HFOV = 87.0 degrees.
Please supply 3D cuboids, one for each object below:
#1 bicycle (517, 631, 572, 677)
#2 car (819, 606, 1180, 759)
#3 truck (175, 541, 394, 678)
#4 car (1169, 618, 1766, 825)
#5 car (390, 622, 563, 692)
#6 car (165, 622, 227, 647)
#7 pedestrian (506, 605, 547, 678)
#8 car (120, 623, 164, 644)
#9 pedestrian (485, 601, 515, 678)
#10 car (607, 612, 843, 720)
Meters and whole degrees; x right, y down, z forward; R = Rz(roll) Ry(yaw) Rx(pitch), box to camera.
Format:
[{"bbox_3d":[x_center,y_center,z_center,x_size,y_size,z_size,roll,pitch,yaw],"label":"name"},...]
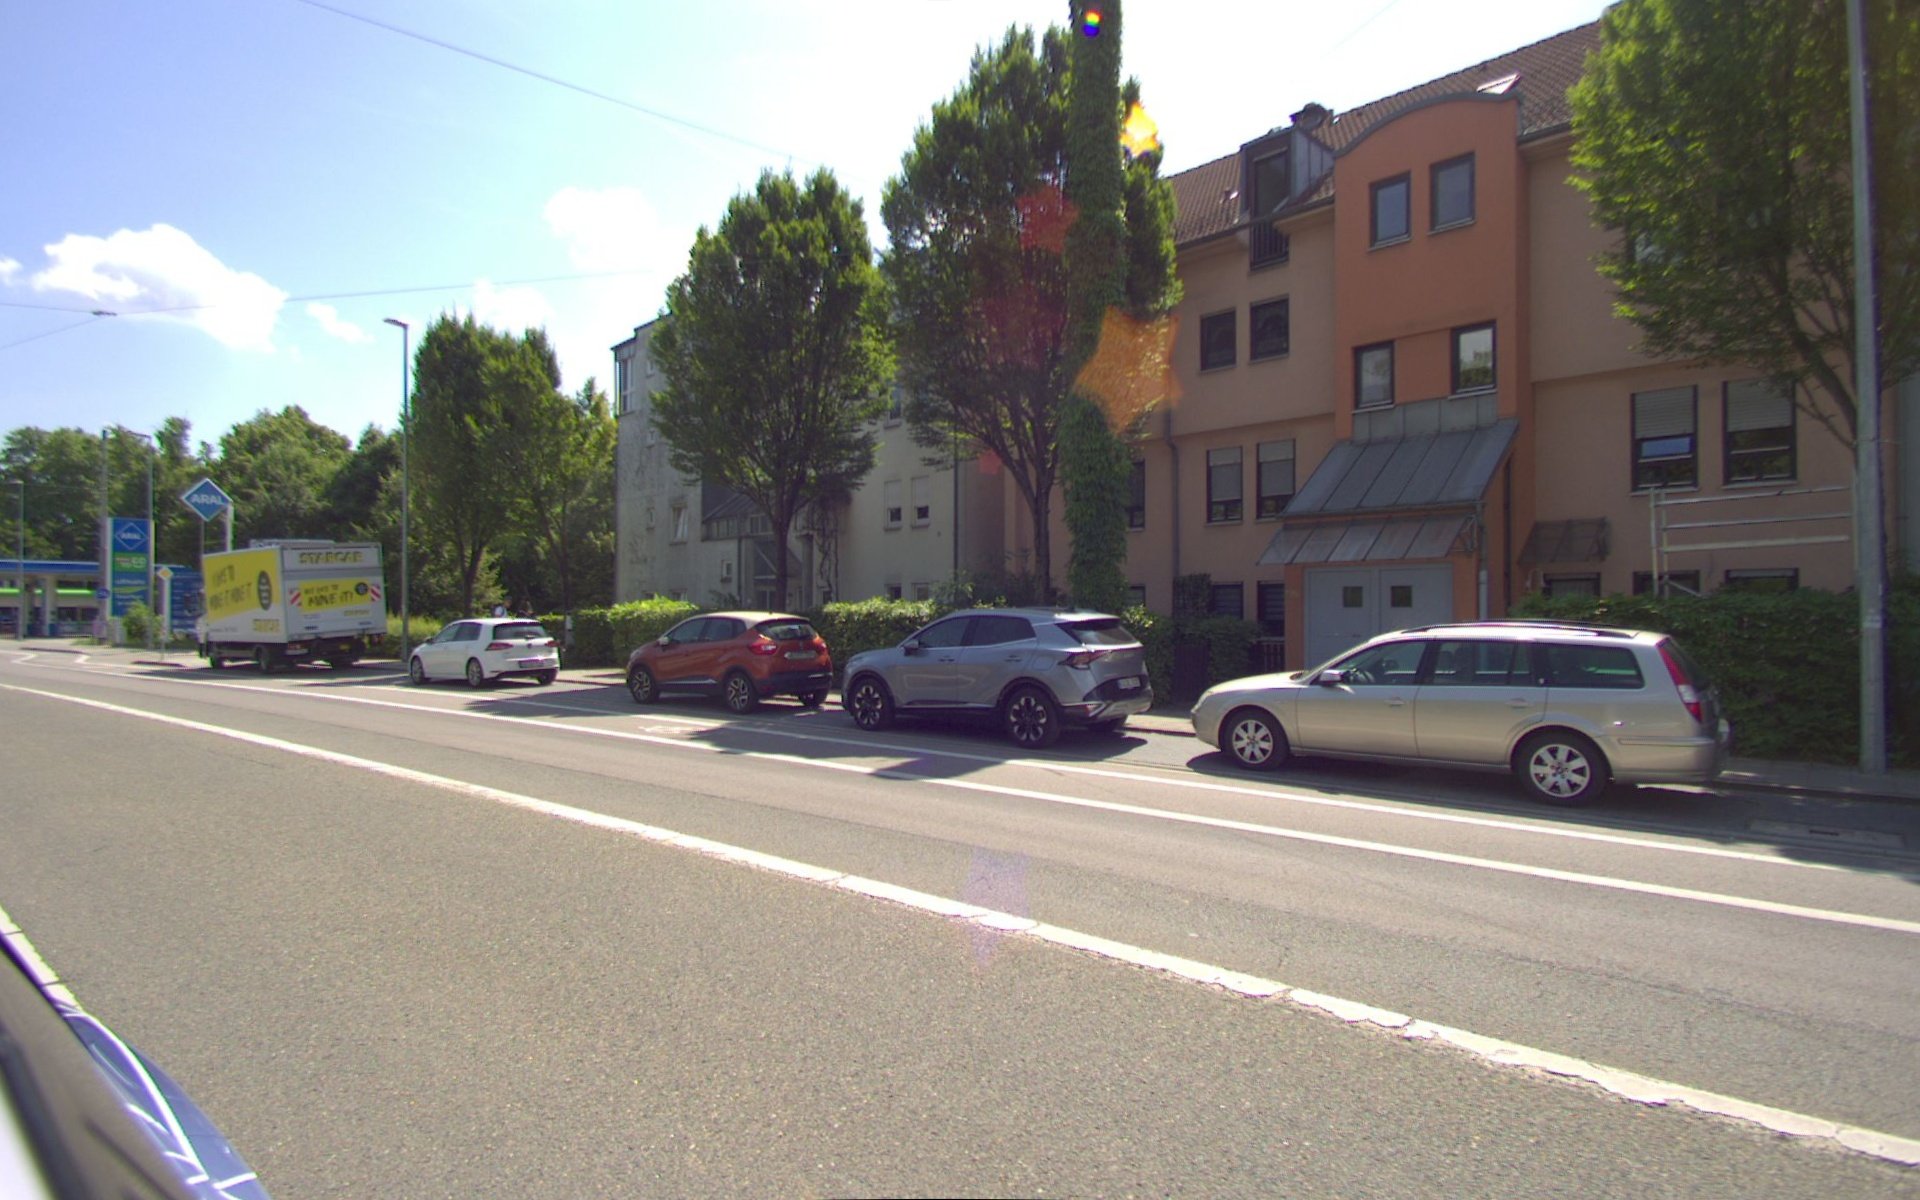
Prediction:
[{"bbox_3d":[-10.608,1.358,25.819,1.660,1.134,0.452,-1,-2,34],"label":"bicycle"},{"bbox_3d":[0.358,0.948,13.239,4.684,1.621,1.639,-1,1,41],"label":"car"},{"bbox_3d":[-20.064,0.272,29.836,8.157,3.575,2.805,-1,1,38],"label":"truck"},{"bbox_3d":[4.602,0.958,9.774,4.894,1.519,1.638,-1,-1,42],"label":"car"},{"bbox_3d":[-10.739,1.199,22.369,4.390,1.421,1.640,-1,-2,37],"label":"car"},{"bbox_3d":[-43.003,1.925,56.969,3.994,1.347,1.796,-1,-2,37],"label":"car"},{"bbox_3d":[-10.928,1.038,25.545,0.696,1.808,0.682,-1,-1,11],"label":"pedestrian"},{"bbox_3d":[-66.815,2.729,82.641,3.991,1.683,1.827,-1,-2,35],"label":"car"},{"bbox_3d":[-11.732,1.002,25.824,0.633,1.937,0.711,0,-2,-22],"label":"pedestrian"},{"bbox_3d":[-4.058,1.016,17.131,4.167,1.621,1.640,-1,-1,37],"label":"car"}]
